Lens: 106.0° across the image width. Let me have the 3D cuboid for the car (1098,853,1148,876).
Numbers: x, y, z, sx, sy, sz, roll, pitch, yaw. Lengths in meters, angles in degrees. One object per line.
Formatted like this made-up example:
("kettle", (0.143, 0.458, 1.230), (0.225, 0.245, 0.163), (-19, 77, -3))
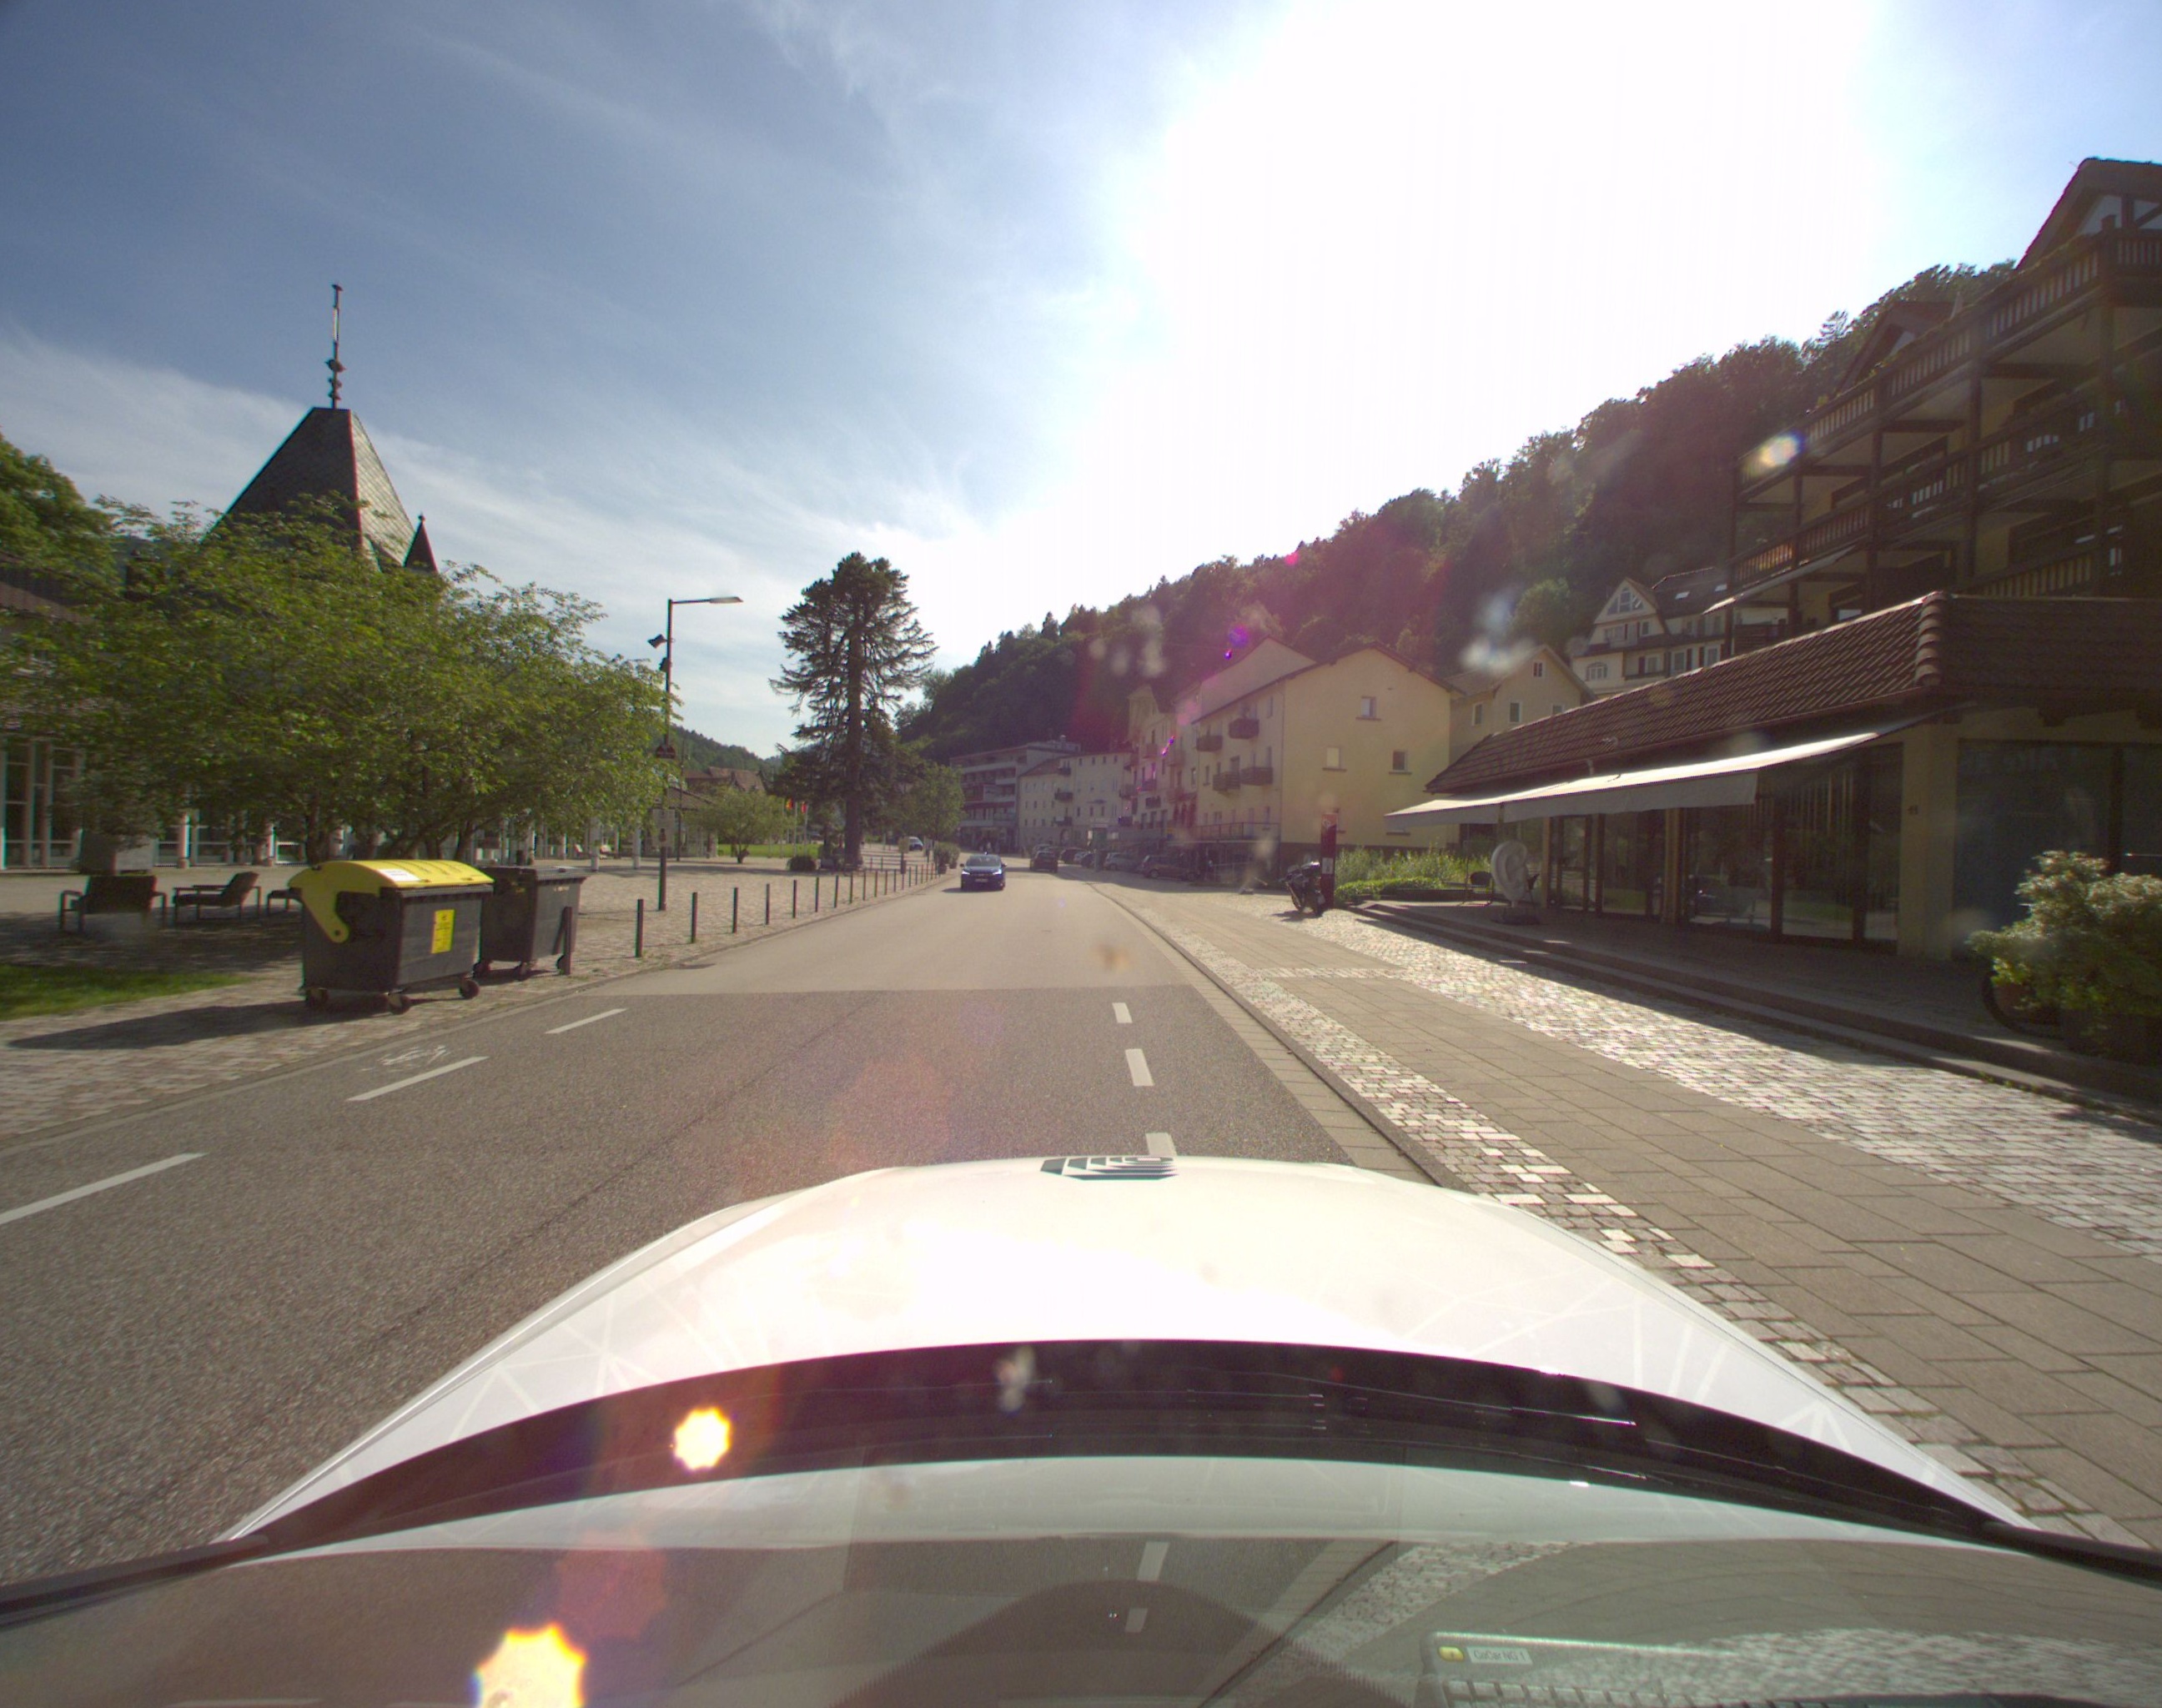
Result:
("car", (3.522, 0.877, 69.006), (3.907, 1.589, 1.770), (5, 0, -8))

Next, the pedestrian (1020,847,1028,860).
("pedestrian", (-6.912, -0.058, 97.930), (0.740, 1.442, 0.626), (0, 1, -36))

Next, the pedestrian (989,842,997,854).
("pedestrian", (-12.131, -0.818, 112.451), (0.762, 1.593, 0.622), (3, 0, -31))

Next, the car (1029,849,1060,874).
("car", (-2.766, 0.532, 60.710), (1.728, 1.574, 3.739), (3, 2, -11))

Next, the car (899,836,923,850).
("car", (-23.760, -1.571, 114.002), (1.866, 1.953, 4.970), (1, 0, -29))

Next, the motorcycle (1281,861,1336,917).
("motorcycle", (5.644, 0.831, 20.351), (0.695, 1.296, 2.211), (-1, 0, -2))

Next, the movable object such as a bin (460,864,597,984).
("movable object such as a bin", (-6.877, 0.827, 10.211), (0.753, 1.341, 1.294), (4, 0, -1))

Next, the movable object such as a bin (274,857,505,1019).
("movable object such as a bin", (-6.921, 0.788, 8.267), (1.075, 1.427, 1.376), (4, 0, -1))

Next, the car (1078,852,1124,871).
("car", (1.795, 0.660, 74.267), (3.907, 1.461, 1.731), (4, 0, -8))

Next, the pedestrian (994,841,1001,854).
("pedestrian", (-11.638, -0.864, 113.310), (0.673, 1.728, 0.701), (3, 0, -31))

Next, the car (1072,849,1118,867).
("car", (1.391, 0.381, 80.802), (4.351, 1.461, 1.769), (4, -1, -6))

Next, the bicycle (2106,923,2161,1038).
("bicycle", (8.540, 0.992, 5.723), (0.397, 0.842, 1.606), (2, 1, -19))

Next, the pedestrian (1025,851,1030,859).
("pedestrian", (-6.445, 0.123, 98.249), (0.420, 1.002, 0.525), (0, 1, -36))

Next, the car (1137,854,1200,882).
("car", (5.940, 0.924, 55.328), (3.860, 1.554, 1.754), (4, 0, -11))

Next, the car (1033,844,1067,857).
("car", (-3.869, -0.437, 100.738), (3.883, 1.549, 1.757), (-1, 3, -29))

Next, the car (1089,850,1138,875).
("car", (2.814, 0.722, 71.551), (3.907, 1.804, 1.852), (5, -1, -8))

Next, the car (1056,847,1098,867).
("car", (-0.438, 0.287, 85.548), (4.081, 1.666, 1.768), (5, 0, -8))

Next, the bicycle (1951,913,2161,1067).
("bicycle", (7.024, 0.900, 5.662), (0.394, 0.864, 1.619), (1, 0, 8))

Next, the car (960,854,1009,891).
("car", (-4.080, 0.734, 34.917), (1.737, 1.462, 4.183), (0, 0, -2))

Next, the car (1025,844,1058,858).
("car", (-5.014, -0.391, 103.562), (3.883, 1.612, 1.757), (-1, 3, -29))
